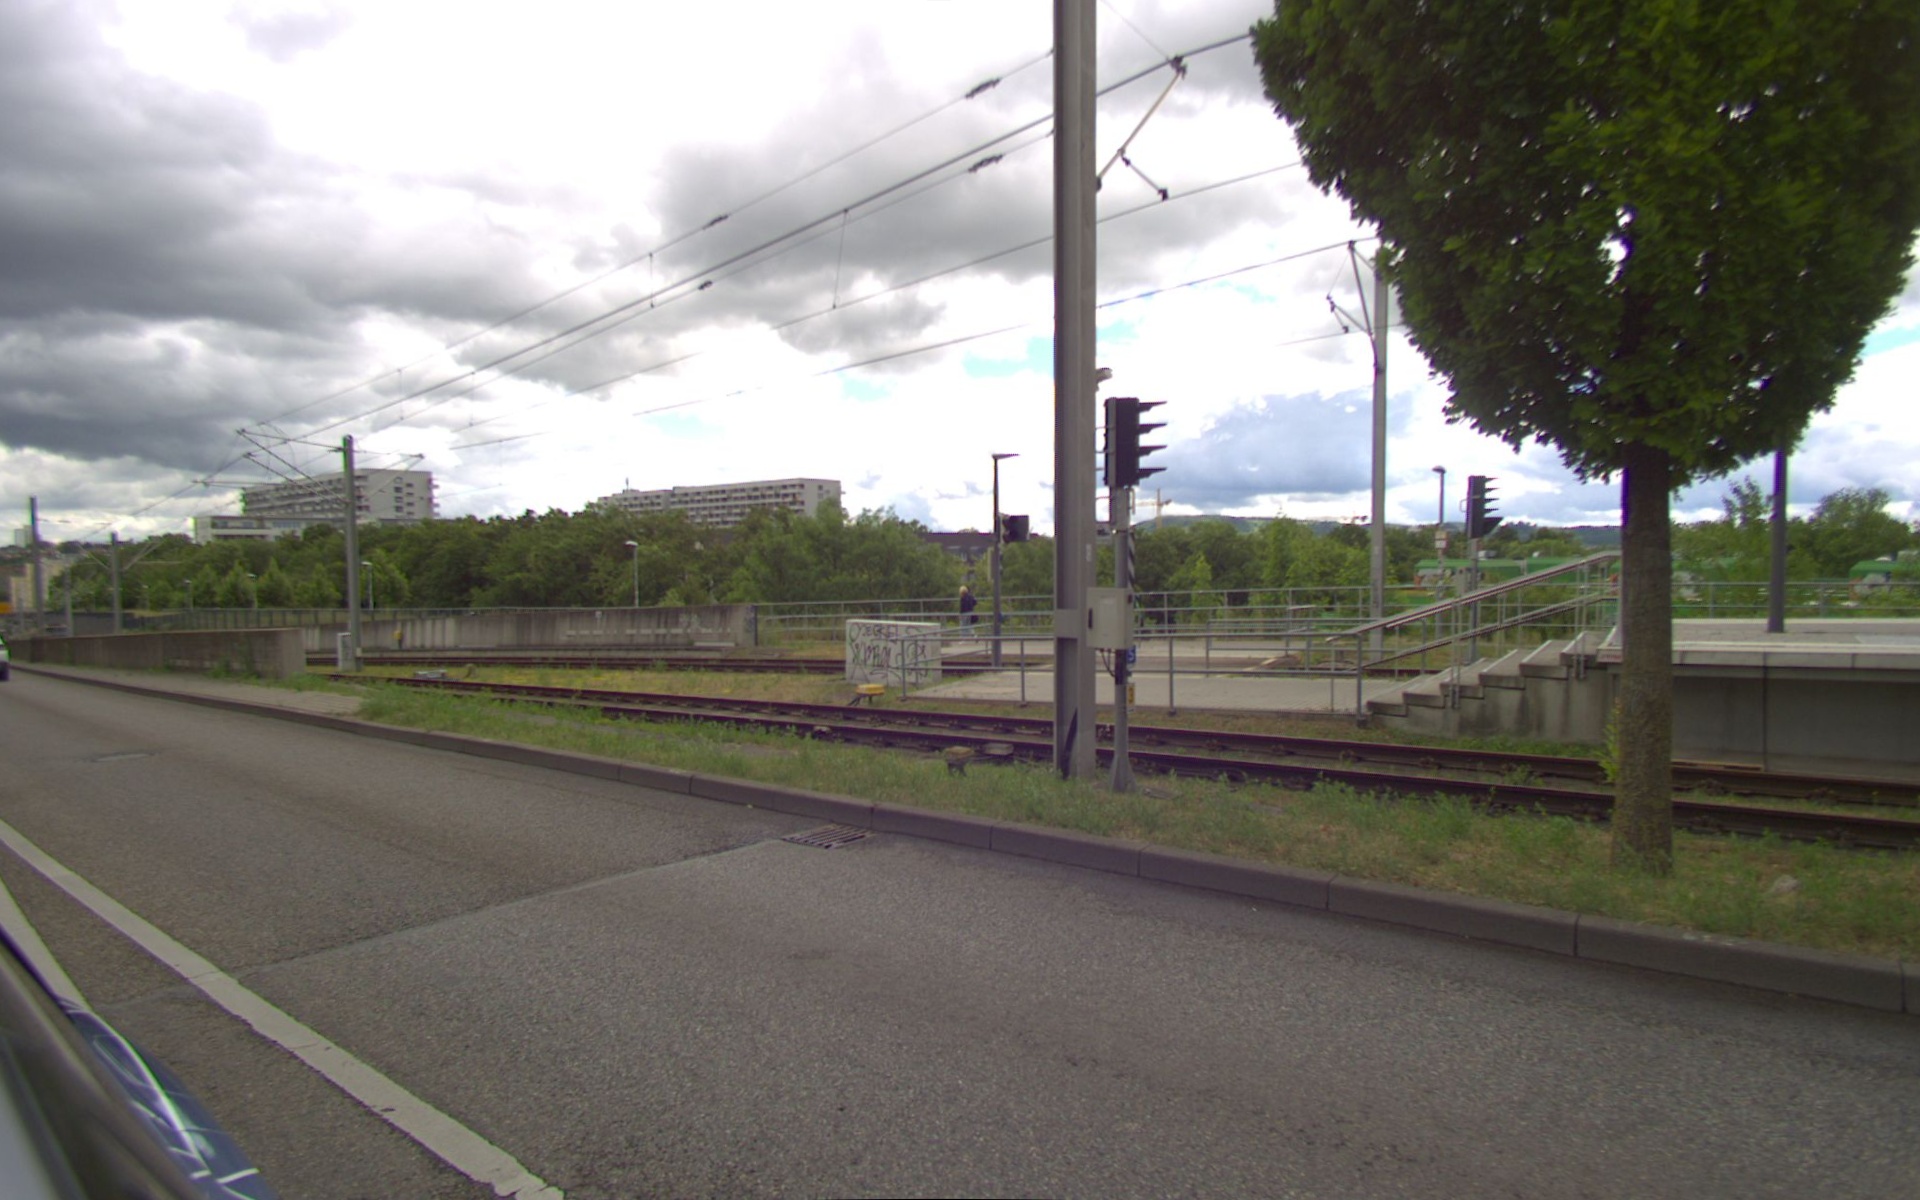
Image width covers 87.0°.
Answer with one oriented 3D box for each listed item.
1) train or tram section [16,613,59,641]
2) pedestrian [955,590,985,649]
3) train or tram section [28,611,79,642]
[{"bbox_3d":[-116.728,3.458,127.940,18.478,3.217,2.750,-2,-1,44],"label":"train or tram section"},{"bbox_3d":[0.288,0.554,28.645,0.645,1.637,0.502,-2,-1,42],"label":"pedestrian"},{"bbox_3d":[-103.353,3.055,115.185,18.475,3.217,2.750,-2,-1,43],"label":"train or tram section"}]
